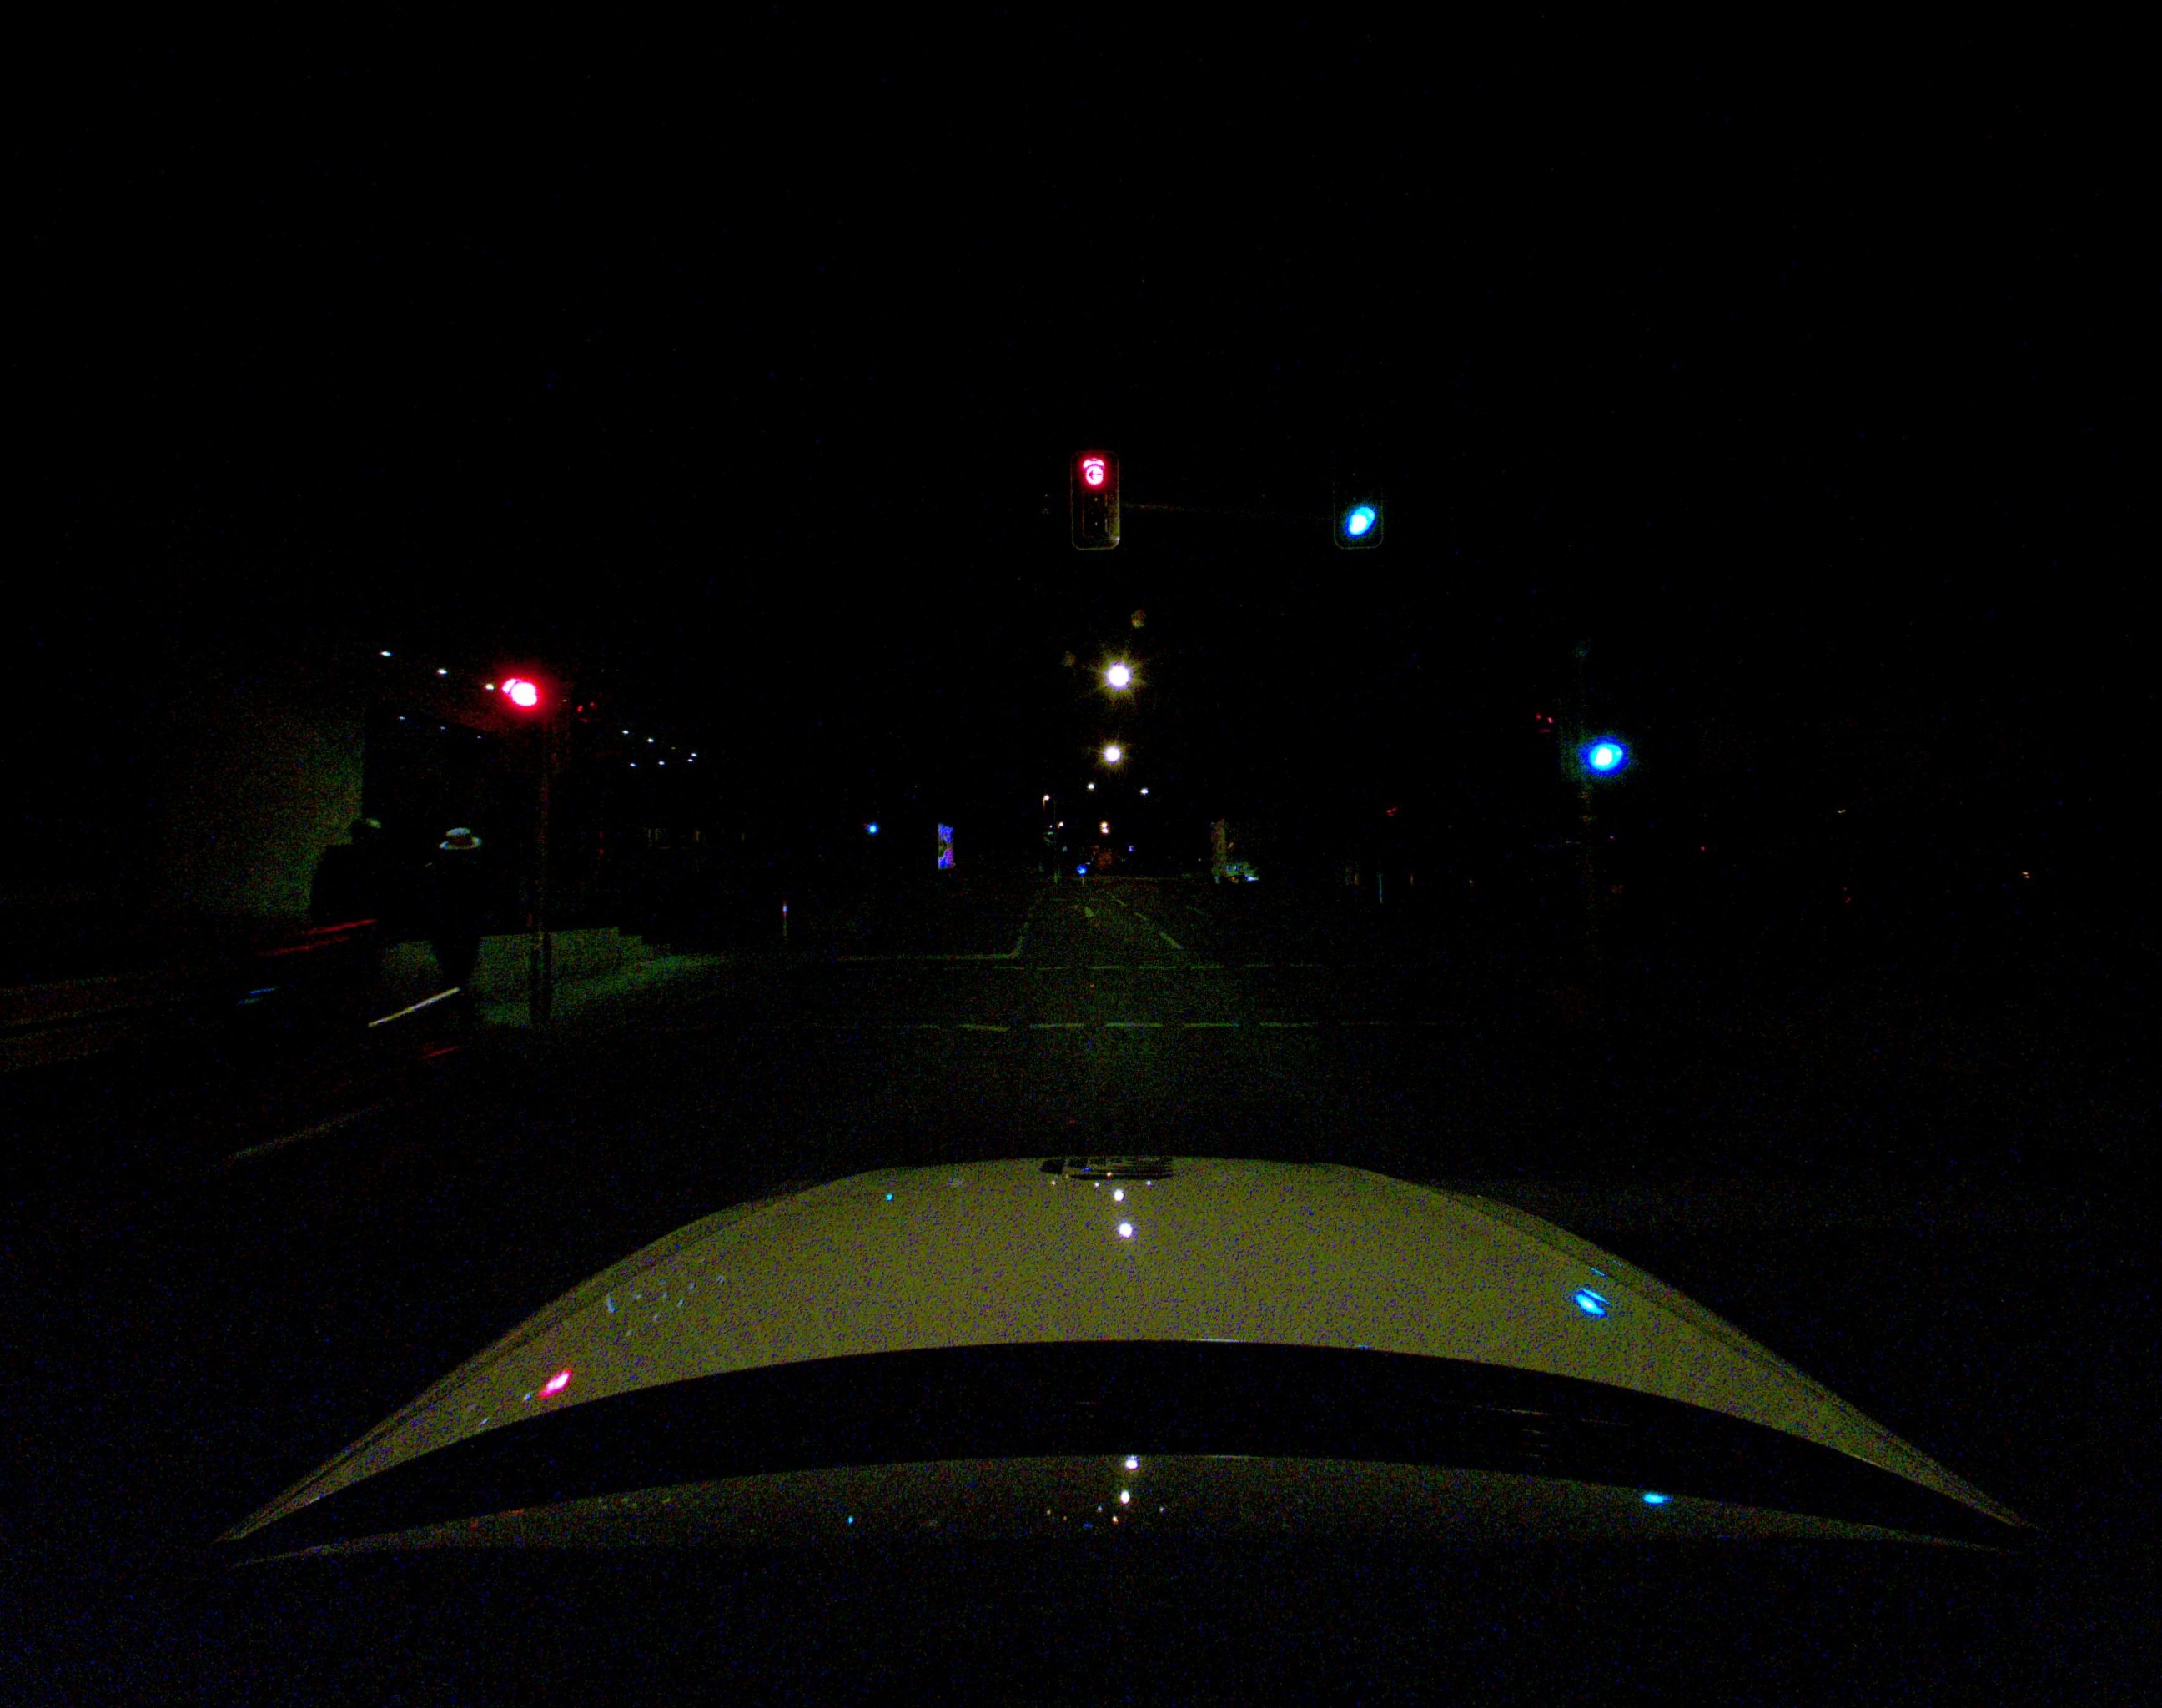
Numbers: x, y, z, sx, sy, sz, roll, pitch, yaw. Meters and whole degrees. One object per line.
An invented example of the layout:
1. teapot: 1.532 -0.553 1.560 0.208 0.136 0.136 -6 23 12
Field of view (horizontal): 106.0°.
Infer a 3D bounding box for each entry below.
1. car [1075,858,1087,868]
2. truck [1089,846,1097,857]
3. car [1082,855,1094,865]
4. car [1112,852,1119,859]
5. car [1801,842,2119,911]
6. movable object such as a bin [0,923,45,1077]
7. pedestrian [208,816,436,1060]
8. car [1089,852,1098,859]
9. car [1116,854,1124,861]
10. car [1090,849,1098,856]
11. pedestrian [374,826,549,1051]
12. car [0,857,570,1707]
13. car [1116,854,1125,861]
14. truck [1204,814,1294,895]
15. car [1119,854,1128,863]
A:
1. car: 0.066 1.336 118.410 1.628 1.452 3.486 0 0 2
2. truck: 3.142 -0.723 209.804 2.079 2.848 5.831 0 0 0
3. car: 1.197 1.004 134.623 1.808 1.684 4.002 0 0 2
4. car: 8.187 0.324 191.550 1.628 1.452 3.486 0 0 2
5. car: 17.322 0.453 16.267 4.107 1.280 1.770 -1 -1 9
6. movable object such as a bin: -7.927 1.040 5.699 0.633 1.049 0.657 -1 -1 19
7. pedestrian: -5.896 0.606 6.410 0.739 1.745 1.103 -1 -1 0
8. car: 2.434 0.308 160.749 1.809 1.491 4.000 0 0 0
9. car: 7.609 0.704 159.325 1.628 1.452 3.486 0 0 2
10. car: 3.000 -0.334 187.151 1.809 1.491 4.000 0 0 0
11. pedestrian: -5.161 0.662 6.859 0.673 1.745 1.029 -1 -1 0
12. car: -2.488 0.769 0.942 1.576 1.501 3.397 -1 0 1
13. car: 7.472 0.642 153.139 1.628 1.452 3.486 0 0 2
14. truck: 6.964 0.021 34.611 2.738 3.110 6.262 0 0 2
15. car: 7.487 0.818 143.395 1.628 1.452 3.486 0 0 2
